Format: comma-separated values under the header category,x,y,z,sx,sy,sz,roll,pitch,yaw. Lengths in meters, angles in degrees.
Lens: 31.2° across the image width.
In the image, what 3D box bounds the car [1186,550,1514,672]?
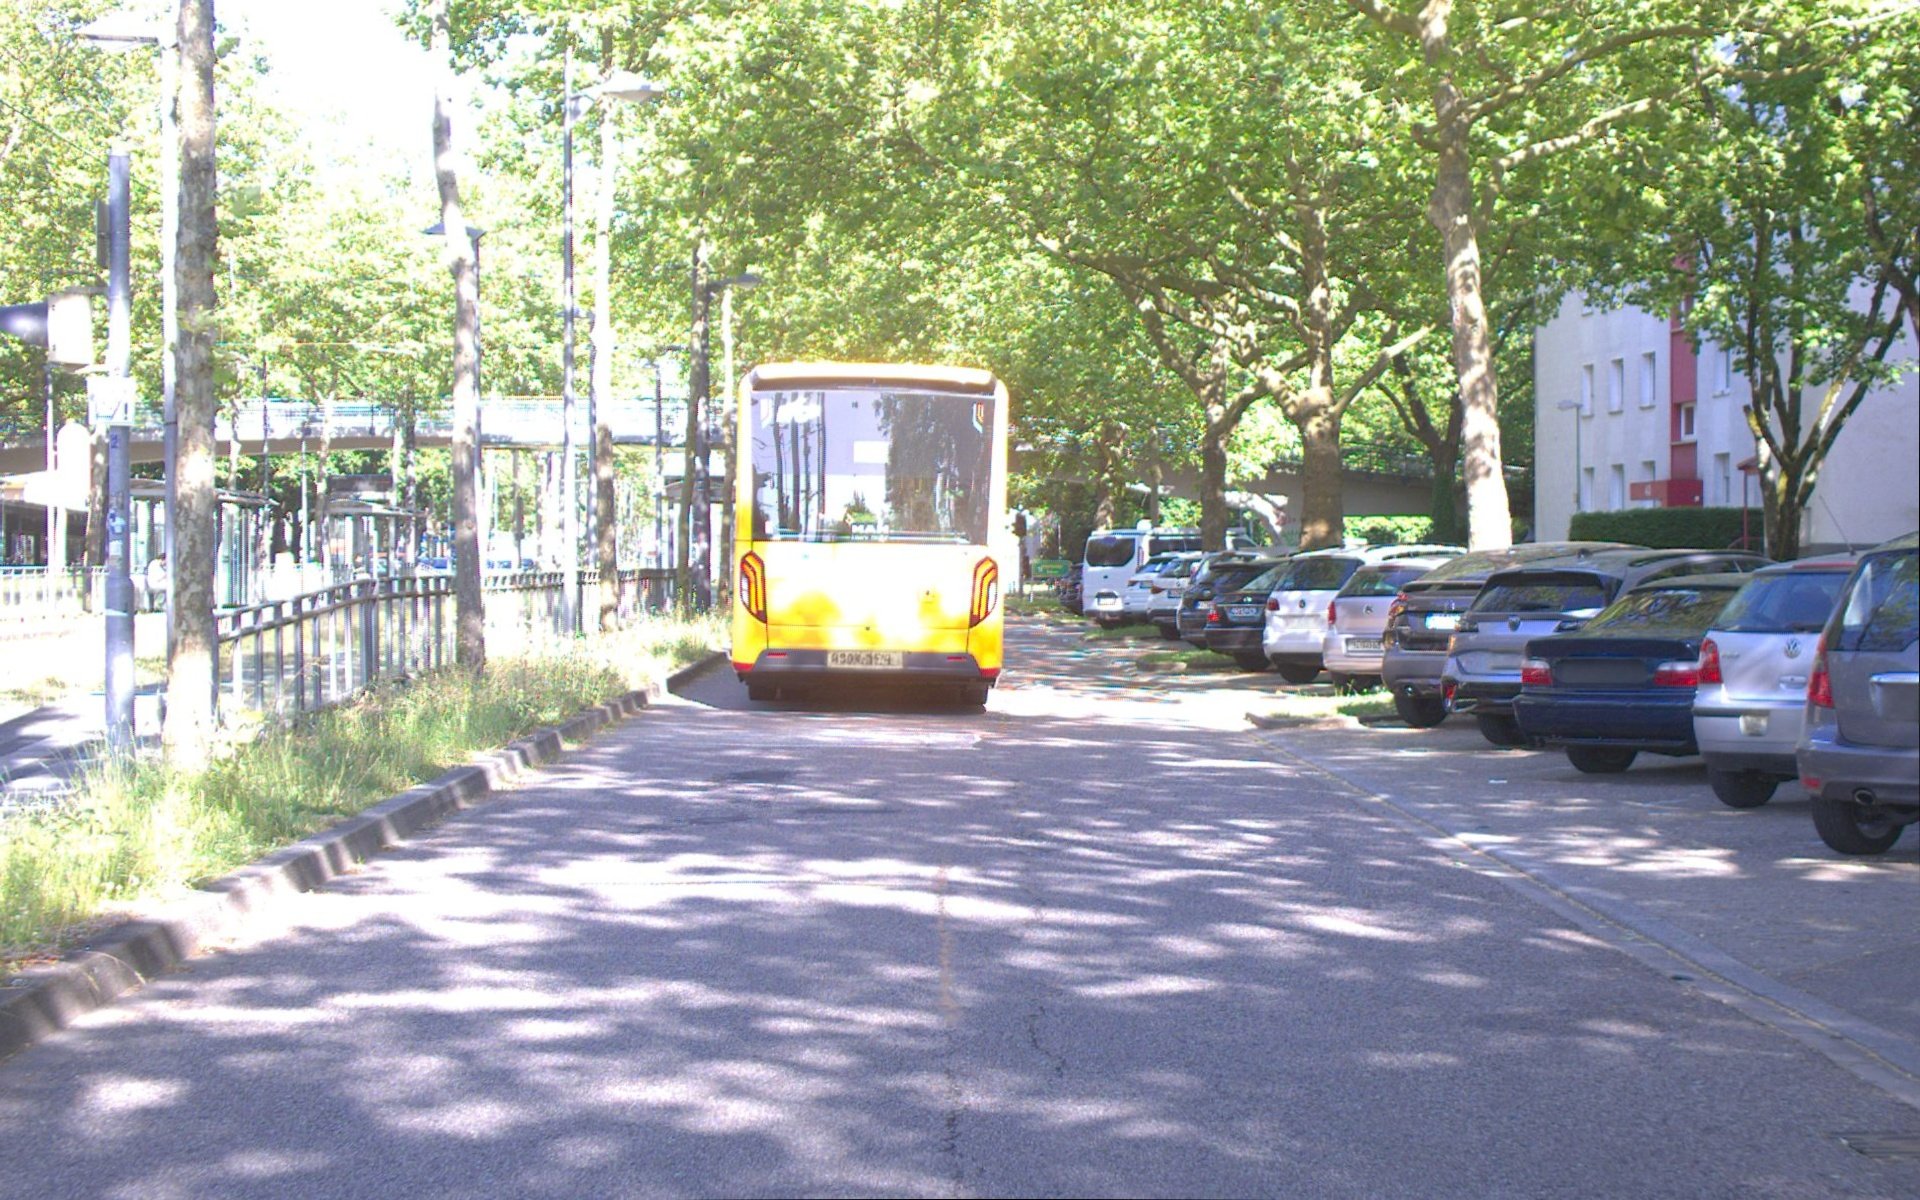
category,x,y,z,sx,sy,sz,roll,pitch,yaw
car,5.121,0.116,44.720,1.799,1.418,4.578,0,1,44

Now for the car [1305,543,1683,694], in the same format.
category,x,y,z,sx,sy,sz,roll,pitch,yaw
car,5.678,0.164,36.300,3.989,1.439,1.799,-2,1,-42

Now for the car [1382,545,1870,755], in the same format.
category,x,y,z,sx,sy,sz,roll,pitch,yaw
car,5.204,0.340,26.593,3.878,1.441,1.799,-2,1,-44

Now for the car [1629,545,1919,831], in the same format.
category,x,y,z,sx,sy,sz,roll,pitch,yaw
car,5.728,0.430,20.011,3.574,1.487,1.799,-2,1,-42

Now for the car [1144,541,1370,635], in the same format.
category,x,y,z,sx,sy,sz,roll,pitch,yaw
car,5.322,-0.226,61.180,1.798,1.505,4.202,-1,1,42

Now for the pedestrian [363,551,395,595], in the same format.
category,x,y,z,sx,sy,sz,roll,pitch,yaw
pedestrian,-16.295,-0.755,96.452,0.778,1.233,0.722,0,1,-2

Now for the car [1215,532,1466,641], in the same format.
category,x,y,z,sx,sy,sz,roll,pitch,yaw
car,6.124,-0.223,55.148,3.989,1.584,1.799,-3,1,-43

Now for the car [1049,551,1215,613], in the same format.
category,x,y,z,sx,sy,sz,roll,pitch,yaw
car,4.527,-0.487,90.043,4.244,1.456,1.799,-3,1,-41

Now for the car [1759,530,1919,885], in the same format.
category,x,y,z,sx,sy,sz,roll,pitch,yaw
car,5.728,0.433,16.611,3.716,1.587,1.799,-2,1,-42

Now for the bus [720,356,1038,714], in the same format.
category,x,y,z,sx,sy,sz,roll,pitch,yaw
bus,-0.934,-0.658,37.573,2.899,3.255,12.219,0,1,-2

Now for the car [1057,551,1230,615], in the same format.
category,x,y,z,sx,sy,sz,roll,pitch,yaw
car,4.653,-0.434,86.907,4.244,1.456,1.799,-3,1,-41

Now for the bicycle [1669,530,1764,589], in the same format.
category,x,y,z,sx,sy,sz,roll,pitch,yaw
bicycle,15.563,-0.836,70.720,1.794,1.125,0.500,-3,1,-5

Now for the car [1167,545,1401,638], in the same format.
category,x,y,z,sx,sy,sz,roll,pitch,yaw
car,5.520,-0.148,58.282,1.831,1.414,3.990,-1,1,44

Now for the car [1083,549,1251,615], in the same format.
category,x,y,z,sx,sy,sz,roll,pitch,yaw
car,5.061,-0.439,83.761,3.989,1.463,1.782,-3,1,-43

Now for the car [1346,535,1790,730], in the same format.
category,x,y,z,sx,sy,sz,roll,pitch,yaw
car,5.318,0.239,29.725,1.799,1.505,4.167,0,1,43

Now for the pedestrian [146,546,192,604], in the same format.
category,x,y,z,sx,sy,sz,roll,pitch,yaw
pedestrian,-16.342,-0.515,71.010,0.766,1.179,0.763,1,1,0

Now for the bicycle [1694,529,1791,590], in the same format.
category,x,y,z,sx,sy,sz,roll,pitch,yaw
bicycle,15.804,-0.820,69.444,1.794,1.125,0.500,-3,1,-5

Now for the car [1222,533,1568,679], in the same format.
category,x,y,z,sx,sy,sz,roll,pitch,yaw
car,5.127,0.045,40.292,3.989,1.570,1.799,-2,1,-41

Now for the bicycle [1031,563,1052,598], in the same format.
category,x,y,z,sx,sy,sz,roll,pitch,yaw
bicycle,2.827,-0.686,119.591,0.590,1.179,1.800,-3,1,-2

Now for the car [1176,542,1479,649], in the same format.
category,x,y,z,sx,sy,sz,roll,pitch,yaw
car,5.511,-0.078,51.314,4.396,1.423,1.951,-3,1,-40

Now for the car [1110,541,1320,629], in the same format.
category,x,y,z,sx,sy,sz,roll,pitch,yaw
car,5.046,-0.303,67.698,4.047,1.575,1.832,-3,1,-44

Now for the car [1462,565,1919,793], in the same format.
category,x,y,z,sx,sy,sz,roll,pitch,yaw
car,5.425,0.466,23.047,4.135,1.313,1.799,-2,1,-41

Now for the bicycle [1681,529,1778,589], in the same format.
category,x,y,z,sx,sy,sz,roll,pitch,yaw
bicycle,15.684,-0.830,70.087,1.794,1.125,0.550,-3,1,-5

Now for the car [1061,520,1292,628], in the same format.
category,x,y,z,sx,sy,sz,roll,pitch,yaw
car,4.480,-0.553,70.690,4.577,2.045,2.017,-3,1,-41
